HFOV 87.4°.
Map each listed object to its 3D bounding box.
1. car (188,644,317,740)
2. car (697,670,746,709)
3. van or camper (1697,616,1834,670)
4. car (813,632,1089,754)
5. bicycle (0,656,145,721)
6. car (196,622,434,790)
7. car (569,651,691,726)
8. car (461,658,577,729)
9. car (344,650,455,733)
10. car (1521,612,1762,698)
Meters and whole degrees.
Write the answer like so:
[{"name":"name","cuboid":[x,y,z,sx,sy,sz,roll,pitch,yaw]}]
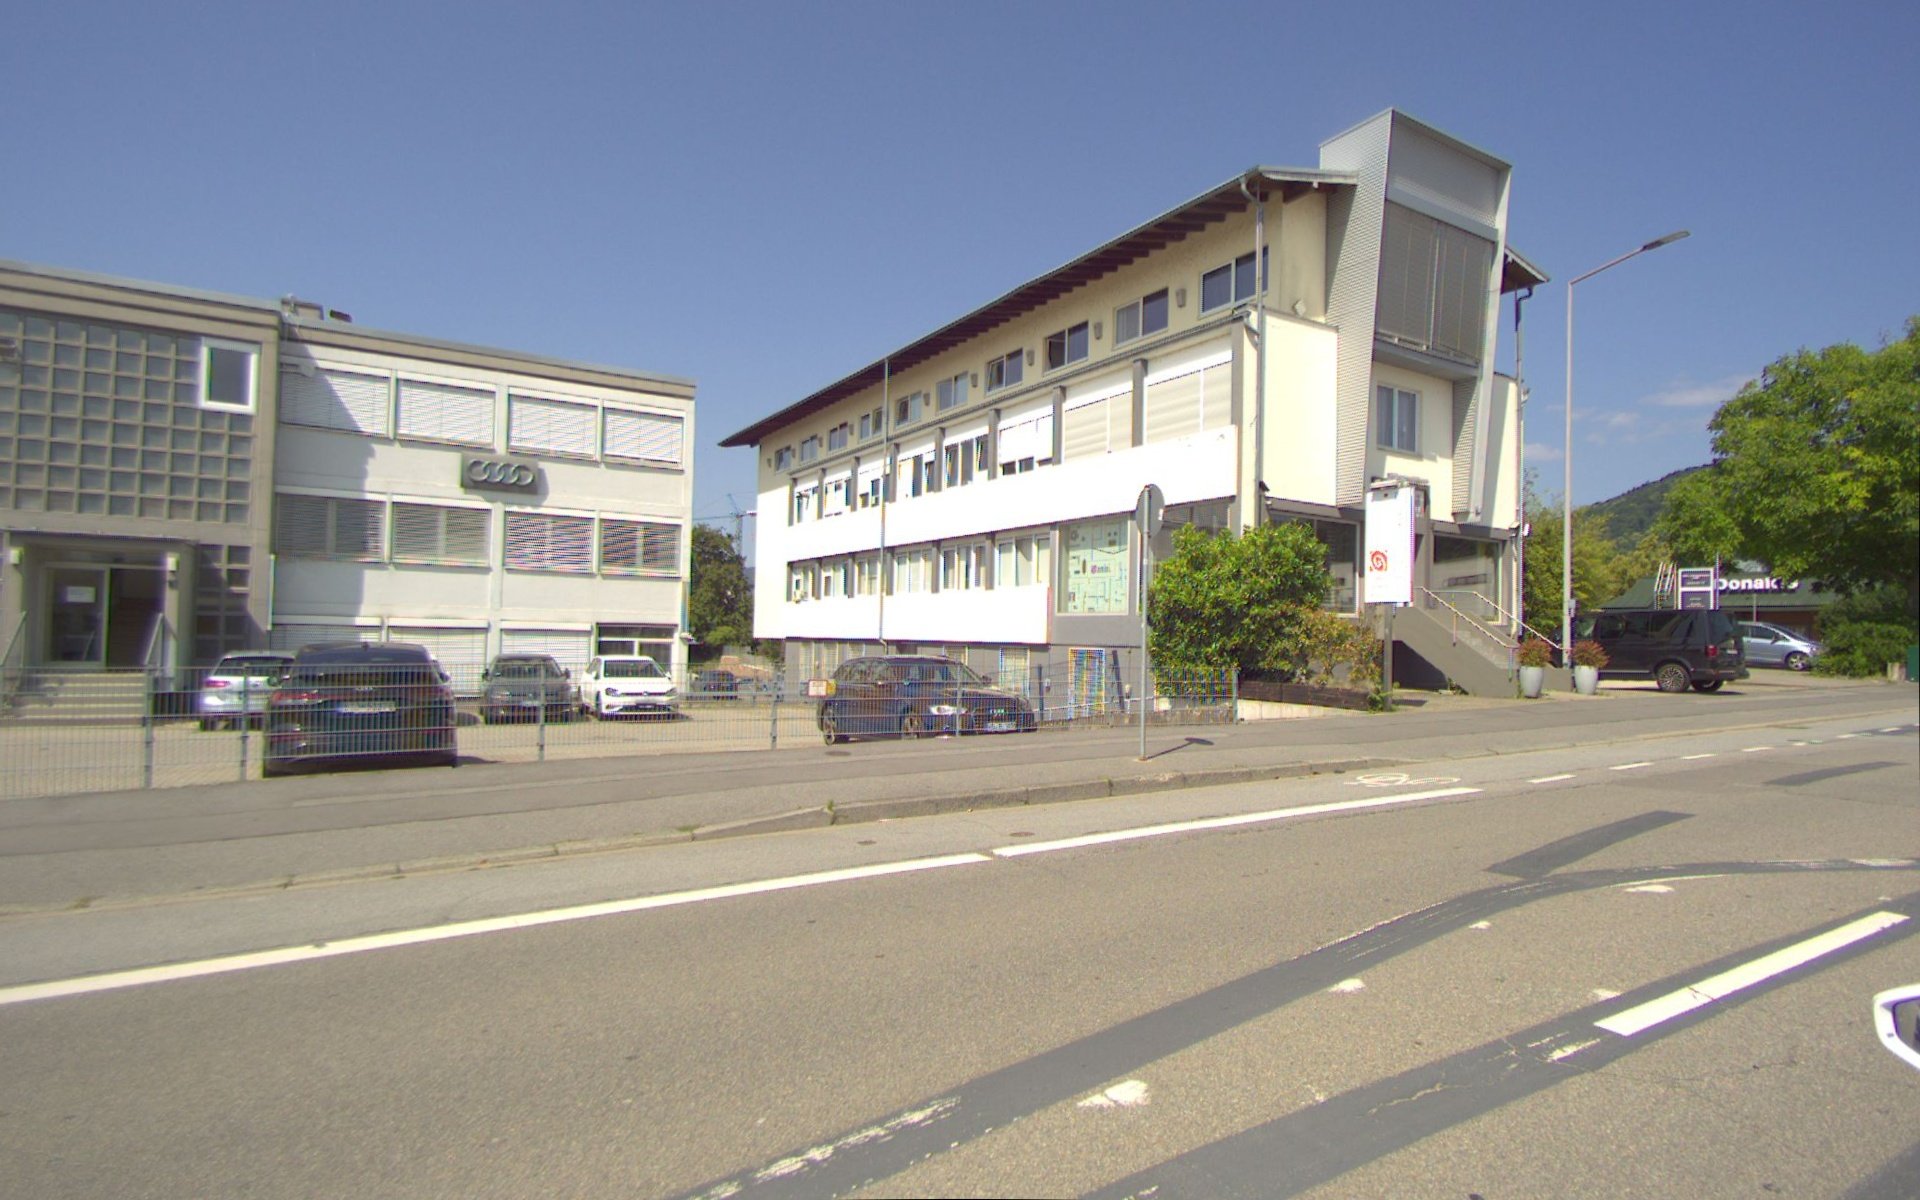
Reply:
[{"name":"car","cuboid":[-13.883,1.718,19.913,1.839,1.566,3.965,1,-1,-32]},{"name":"car","cuboid":[-14.089,5.225,59.178,1.756,2.040,3.969,1,-1,-30]},{"name":"van or camper","cuboid":[28.313,1.482,35.387,1.613,1.687,3.377,1,1,-29]},{"name":"car","cuboid":[-0.328,1.253,15.150,2.025,1.500,4.714,1,-2,-32]},{"name":"bicycle","cuboid":[-18.143,1.761,20.244,2.549,1.194,0.920,1,-1,-34]},{"name":"car","cuboid":[-7.568,1.068,11.791,1.975,1.579,4.269,1,-2,-34]},{"name":"car","cuboid":[-7.859,2.009,23.717,1.839,1.480,3.965,1,-1,-32]},{"name":"car","cuboid":[-10.019,2.034,22.663,1.839,1.281,3.965,1,-1,-32]},{"name":"car","cuboid":[-11.653,1.859,21.078,1.793,1.421,3.972,3,-2,-27]},{"name":"car","cuboid":[16.731,1.277,24.869,2.072,1.890,4.535,1,-1,-35]}]
